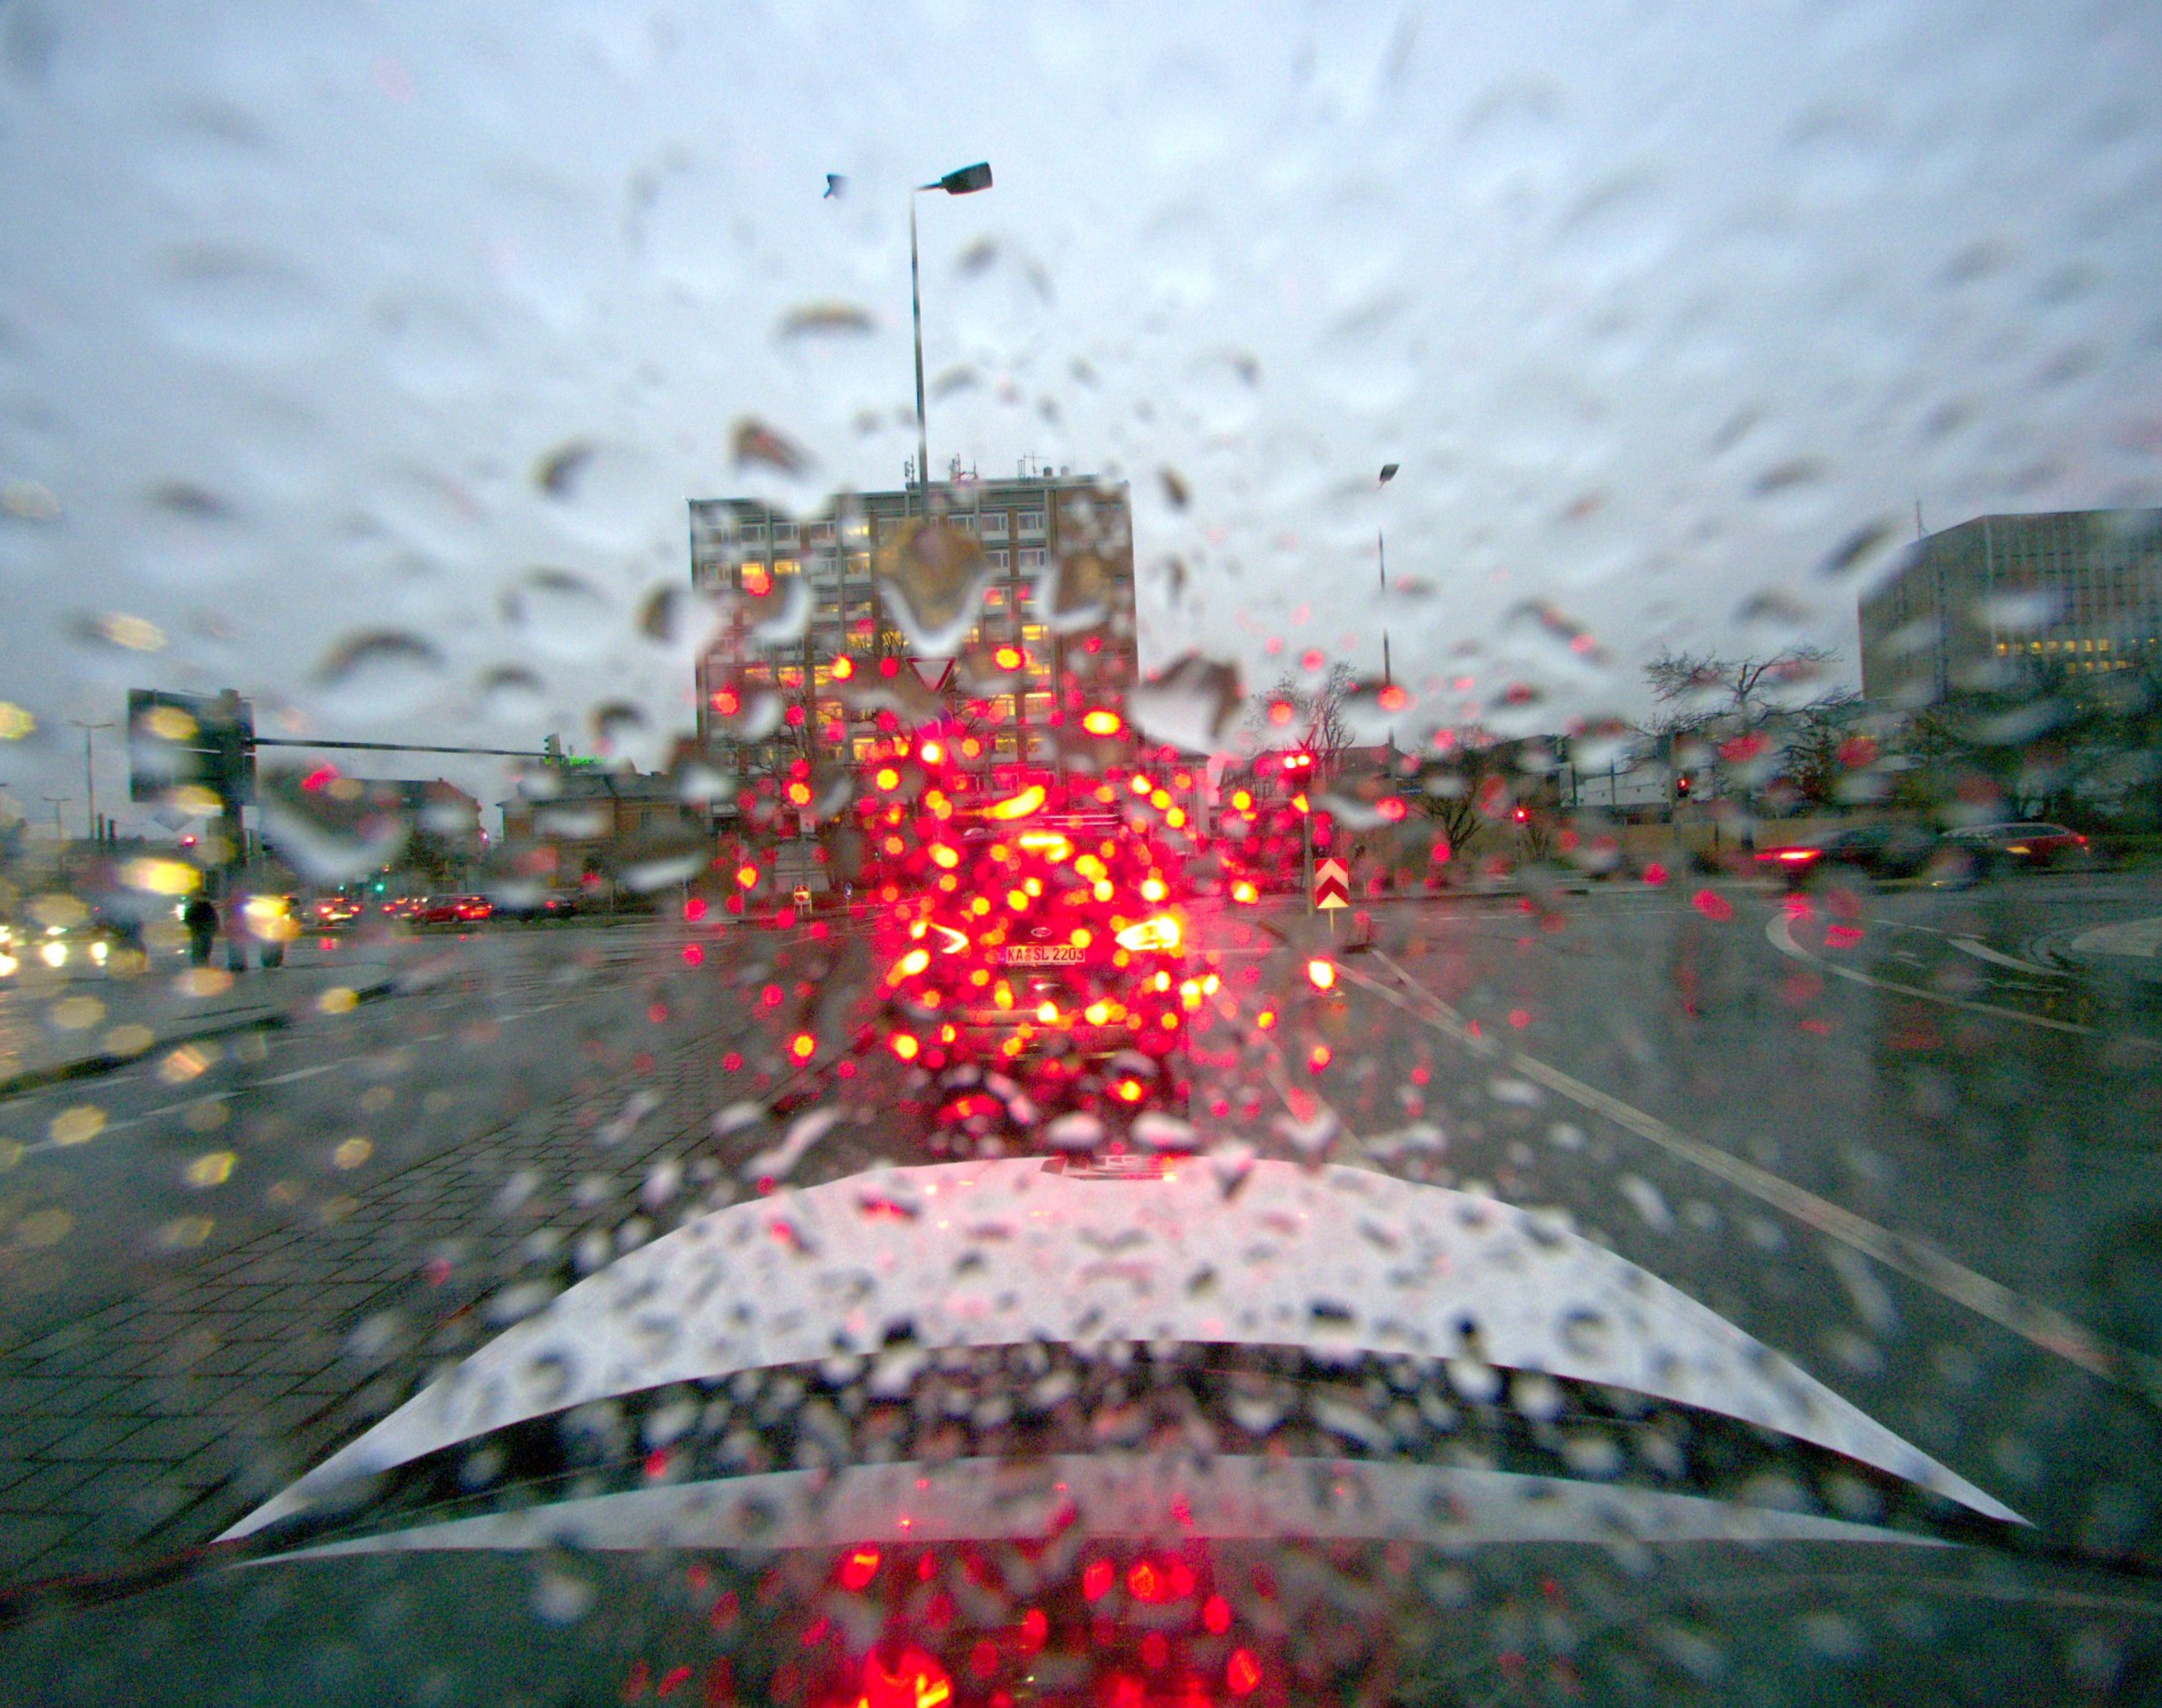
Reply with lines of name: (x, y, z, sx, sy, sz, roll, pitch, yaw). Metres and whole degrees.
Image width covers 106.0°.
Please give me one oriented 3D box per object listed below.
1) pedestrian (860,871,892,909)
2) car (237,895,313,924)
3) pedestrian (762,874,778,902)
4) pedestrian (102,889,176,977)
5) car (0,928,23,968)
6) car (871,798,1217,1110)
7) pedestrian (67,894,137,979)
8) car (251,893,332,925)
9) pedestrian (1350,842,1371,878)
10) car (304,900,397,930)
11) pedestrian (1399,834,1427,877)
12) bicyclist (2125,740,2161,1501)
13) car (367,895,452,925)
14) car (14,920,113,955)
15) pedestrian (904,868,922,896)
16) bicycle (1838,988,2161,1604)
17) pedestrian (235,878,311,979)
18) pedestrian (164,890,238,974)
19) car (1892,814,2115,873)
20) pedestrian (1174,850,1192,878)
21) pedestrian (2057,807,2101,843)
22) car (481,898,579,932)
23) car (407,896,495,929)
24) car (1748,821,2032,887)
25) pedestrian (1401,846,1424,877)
pedestrian: (-10.601, 1.866, 42.196, 0.992, 1.842, 1.145, -3, 2, 23)
car: (-53.080, 3.629, 53.680, 1.505, 1.702, 3.411, -1, -1, 39)
pedestrian: (-19.826, 2.177, 51.913, 0.634, 1.688, 0.640, -3, 0, 18)
pedestrian: (-20.827, 1.719, 18.022, 0.733, 1.838, 0.674, -3, 0, -11)
car: (-42.606, 3.648, 31.209, 3.667, 1.448, 1.756, -2, 1, 26)
car: (-0.154, 0.593, 6.699, 1.986, 1.789, 4.001, 0, -1, 2)
pedestrian: (-21.493, 1.789, 17.893, 0.741, 1.770, 0.546, -3, 0, -12)
car: (-51.145, 3.545, 52.788, 1.649, 1.826, 3.609, -1, -1, 39)
pedestrian: (14.782, 0.301, 43.058, 0.988, 1.799, 0.924, -3, 0, 19)
car: (-43.807, 3.634, 48.933, 1.582, 1.482, 3.840, -1, -1, 31)
pedestrian: (16.580, 0.075, 40.669, 0.893, 2.113, 0.882, -3, 0, -11)
bicyclist: (2.431, 0.502, 1.019, 0.780, 1.453, 1.134, 0, -1, 2)
car: (-38.389, 3.187, 46.634, 1.496, 1.461, 3.453, -1, -1, 31)
car: (-50.807, 4.156, 40.656, 4.538, 1.477, 1.821, -3, -1, 22)
pedestrian: (-10.035, 1.676, 48.659, 0.754, 1.628, 0.559, -3, 0, 14)
bicycle: (2.457, 0.902, 1.263, 0.780, 1.075, 1.958, 0, -1, 2)
pedestrian: (-17.309, 1.559, 17.477, 0.996, 2.021, 0.792, -3, 0, -39)
pedestrian: (-19.532, 1.714, 18.087, 0.653, 1.755, 0.856, -3, 0, 18)
car: (27.997, -0.291, 24.851, 4.390, 1.477, 1.814, -3, -1, 6)
pedestrian: (6.238, 0.616, 49.823, 0.712, 1.628, 0.766, -3, 0, 44)
pedestrian: (46.609, -1.352, 38.050, 0.956, 1.603, 0.796, -3, 0, 9)
car: (-27.323, 2.998, 40.410, 3.958, 1.568, 1.834, -1, -1, 14)
car: (-33.316, 3.066, 43.090, 3.954, 1.568, 1.836, -1, -1, 20)
car: (19.628, 0.023, 19.993, 4.655, 1.302, 1.944, -3, -1, 9)
pedestrian: (16.932, 0.377, 41.642, 0.918, 1.533, 1.047, -3, 0, 15)
